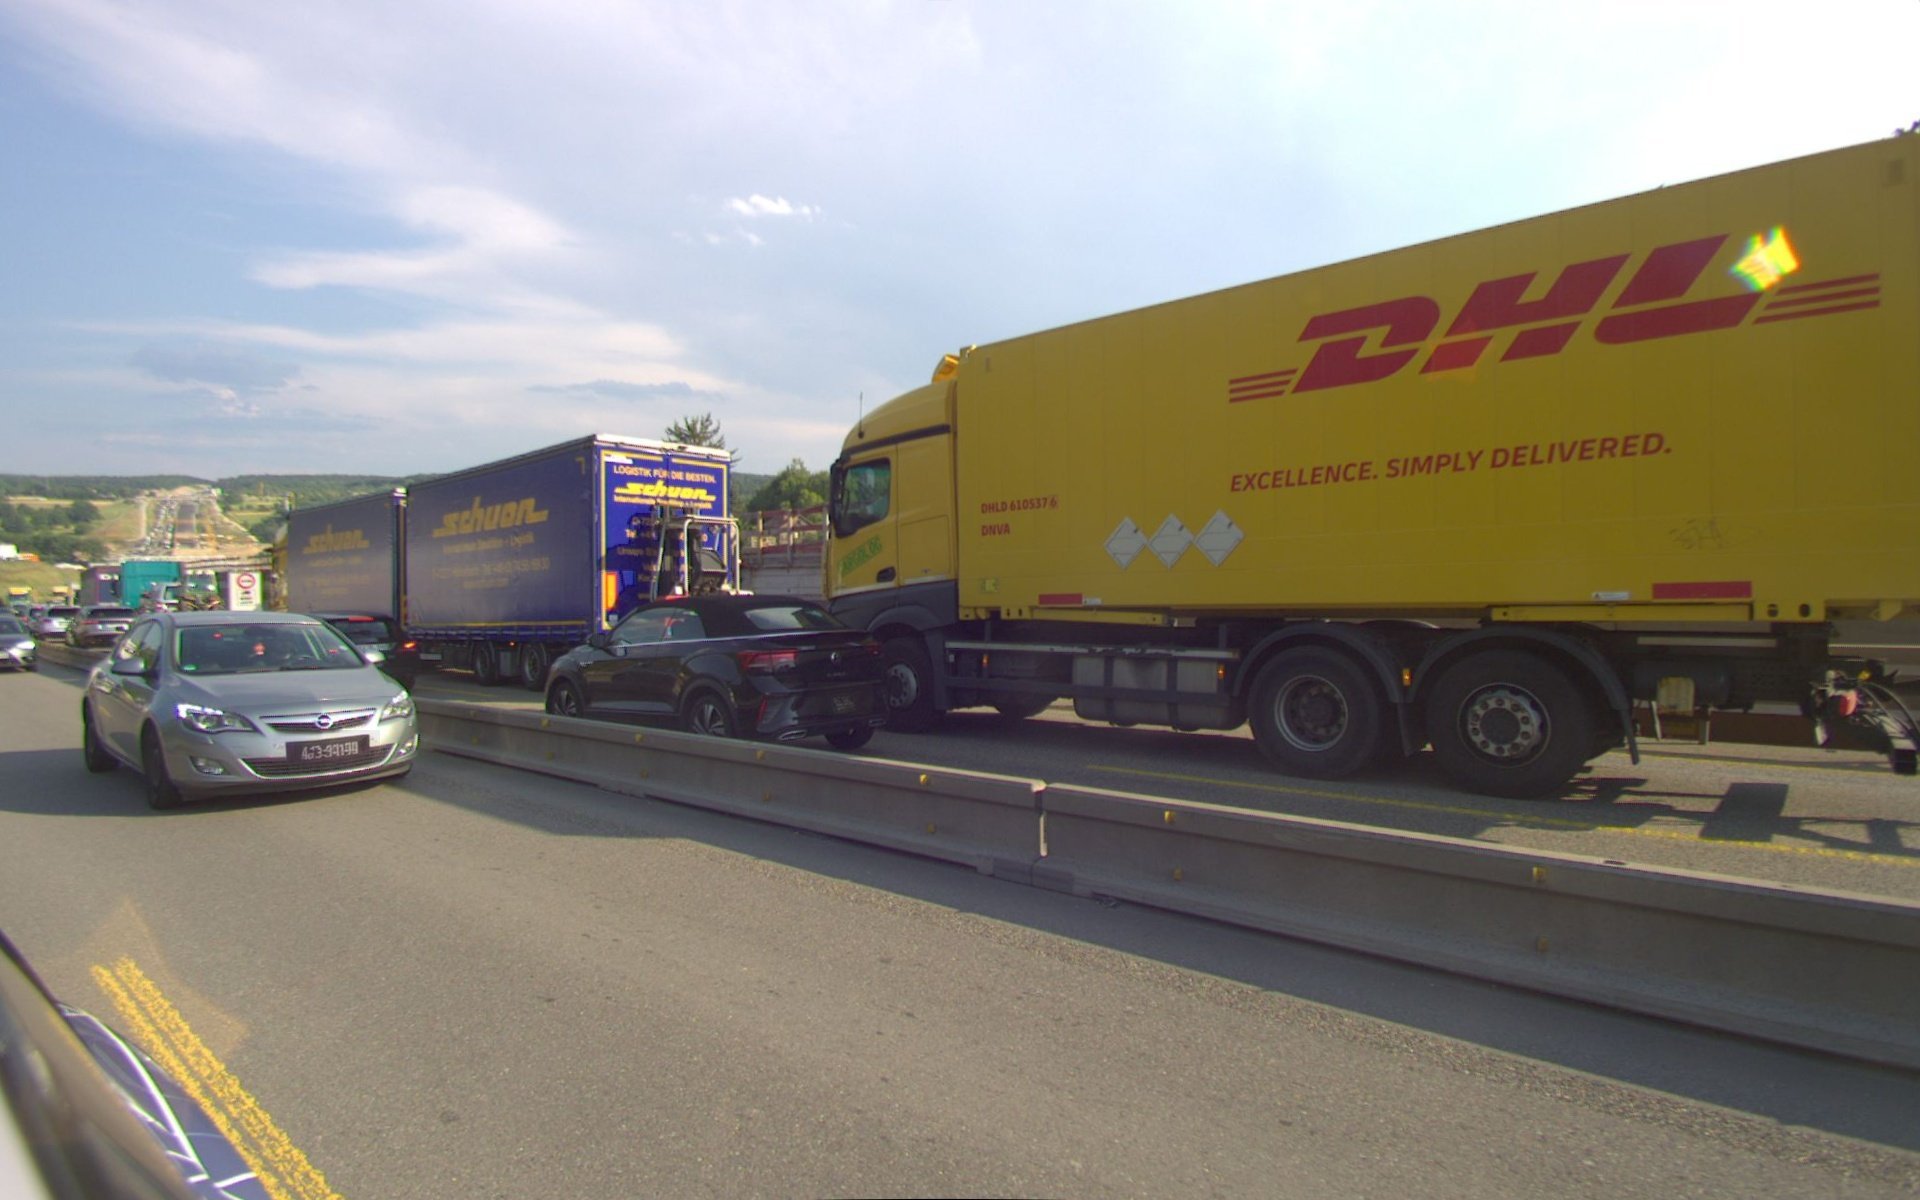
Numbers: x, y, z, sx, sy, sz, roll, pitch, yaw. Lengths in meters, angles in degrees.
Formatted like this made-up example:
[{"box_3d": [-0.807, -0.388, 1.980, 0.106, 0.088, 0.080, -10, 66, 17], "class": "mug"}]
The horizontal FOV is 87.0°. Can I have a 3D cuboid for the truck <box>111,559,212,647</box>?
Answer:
[{"box_3d": [-37.525, 0.167, 47.447, 7.113, 3.834, 2.718, -1, -2, 44], "class": "truck"}]

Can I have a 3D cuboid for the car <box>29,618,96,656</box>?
[{"box_3d": [-42.872, 1.713, 48.316, 4.848, 1.657, 1.938, 0, 0, 43], "class": "car"}]

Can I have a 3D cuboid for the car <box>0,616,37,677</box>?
[{"box_3d": [-24.519, 1.153, 25.430, 1.798, 1.452, 4.003, -2, 1, -44], "class": "car"}]

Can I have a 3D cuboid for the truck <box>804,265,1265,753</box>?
[{"box_3d": [0.733, -0.787, 11.224, 4.396, 4.228, 2.666, 0, 0, 41], "class": "truck"}]

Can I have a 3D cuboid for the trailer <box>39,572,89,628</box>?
[{"box_3d": [-75.644, 0.013, 85.370, 2.877, 4.499, 7.158, -1, 0, -44], "class": "trailer"}]

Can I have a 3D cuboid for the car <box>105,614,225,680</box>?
[{"box_3d": [-20.859, 1.153, 26.480, 4.724, 1.509, 1.769, 0, 0, 43], "class": "car"}]

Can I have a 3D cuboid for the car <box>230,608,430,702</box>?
[{"box_3d": [-11.255, 0.926, 17.942, 4.614, 1.464, 1.778, -2, -2, 42], "class": "car"}]

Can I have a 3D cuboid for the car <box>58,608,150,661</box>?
[{"box_3d": [-30.139, 1.163, 35.595, 4.691, 1.714, 1.906, 0, 0, 43], "class": "car"}]

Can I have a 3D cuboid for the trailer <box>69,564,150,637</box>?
[{"box_3d": [-53.131, 0.106, 63.063, 12.498, 4.154, 2.684, -1, -2, 45], "class": "trailer"}]

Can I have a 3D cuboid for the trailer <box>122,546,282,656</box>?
[{"box_3d": [-31.565, 0.111, 41.645, 16.051, 3.845, 2.718, -1, -2, 44], "class": "trailer"}]

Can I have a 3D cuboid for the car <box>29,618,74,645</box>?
[{"box_3d": [-54.450, 1.865, 60.626, 1.782, 1.533, 4.819, 2, -2, -45], "class": "car"}]

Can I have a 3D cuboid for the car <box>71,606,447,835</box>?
[{"box_3d": [-6.159, 0.808, 8.701, 4.118, 1.498, 1.786, -1, -1, 42], "class": "car"}]

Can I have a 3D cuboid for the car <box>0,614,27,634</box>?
[{"box_3d": [-90.907, 2.304, 97.147, 1.840, 1.598, 4.751, -4, 4, -43], "class": "car"}]

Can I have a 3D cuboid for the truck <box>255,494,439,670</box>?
[{"box_3d": [-16.415, -0.420, 26.967, 5.794, 4.172, 2.672, 0, 0, 42], "class": "truck"}]

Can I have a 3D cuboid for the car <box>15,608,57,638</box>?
[{"box_3d": [-64.588, 1.585, 70.720, 5.132, 1.948, 1.803, 0, -3, 44], "class": "car"}]

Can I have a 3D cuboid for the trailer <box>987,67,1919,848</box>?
[{"box_3d": [7.131, -0.765, 5.569, 15.991, 4.235, 2.673, 0, 0, 41], "class": "trailer"}]

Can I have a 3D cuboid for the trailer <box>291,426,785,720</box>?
[{"box_3d": [-9.898, -0.399, 20.989, 16.751, 4.166, 2.685, 0, 0, 43], "class": "trailer"}]

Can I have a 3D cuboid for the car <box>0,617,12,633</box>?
[{"box_3d": [-98.535, 2.566, 103.924, 1.746, 1.562, 4.484, -1, 2, -43], "class": "car"}]

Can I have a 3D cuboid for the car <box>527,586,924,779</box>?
[{"box_3d": [-2.485, 0.650, 10.047, 4.290, 1.519, 1.698, 0, 0, 42], "class": "car"}]
